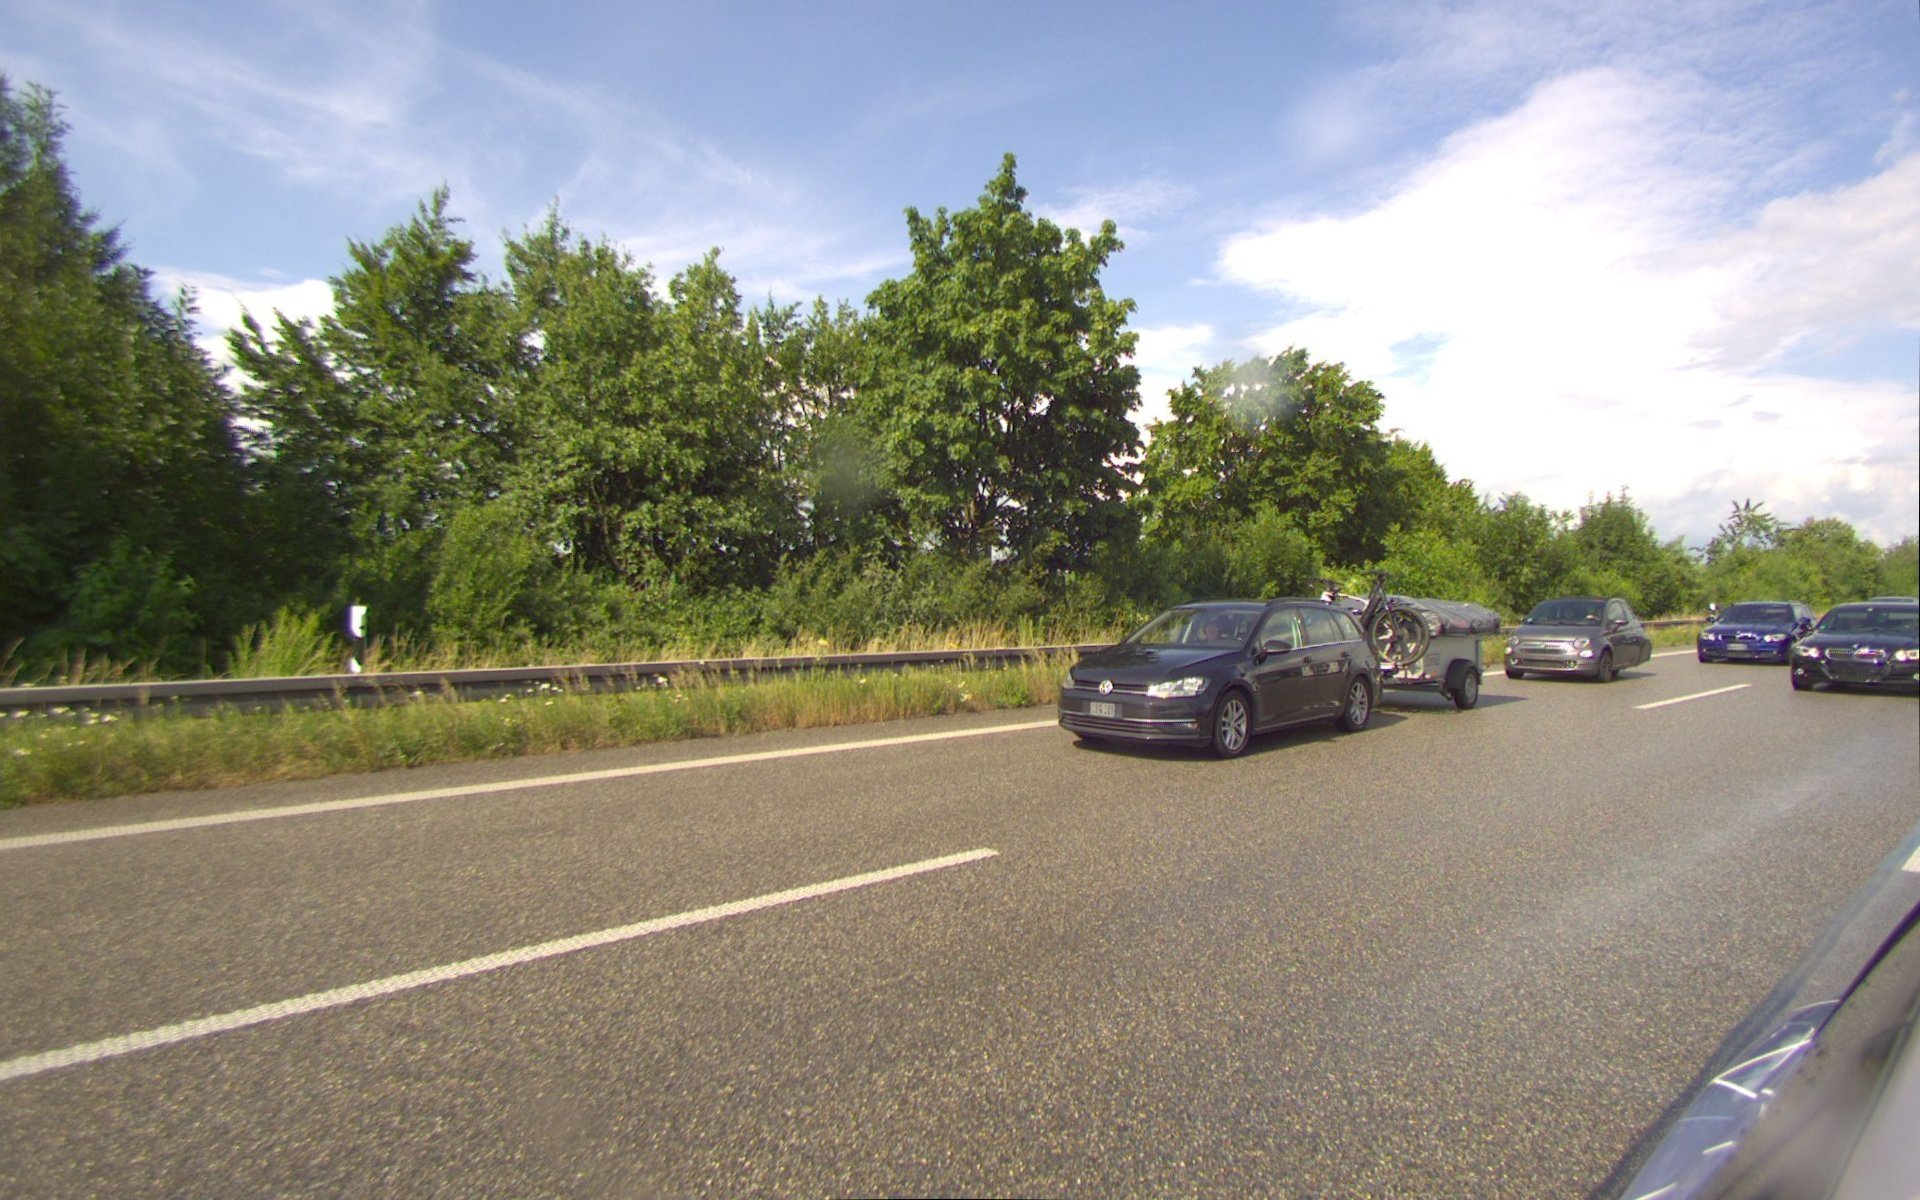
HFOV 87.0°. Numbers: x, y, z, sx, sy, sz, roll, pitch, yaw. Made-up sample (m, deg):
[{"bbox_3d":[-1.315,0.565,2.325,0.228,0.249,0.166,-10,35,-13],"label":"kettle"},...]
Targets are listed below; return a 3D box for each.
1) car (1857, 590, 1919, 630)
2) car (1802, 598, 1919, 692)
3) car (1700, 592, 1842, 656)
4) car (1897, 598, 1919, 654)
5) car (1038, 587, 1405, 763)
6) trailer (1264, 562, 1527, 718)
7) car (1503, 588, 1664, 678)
[{"bbox_3d":[37.666,0.364,40.624,4.176,1.509,1.997,0,1,-41],"label":"car"},{"bbox_3d":[15.186,0.665,16.418,3.815,1.371,1.721,0,0,-40],"label":"car"},{"bbox_3d":[19.180,0.501,23.861,4.499,1.368,1.770,0,1,-40],"label":"car"},{"bbox_3d":[25.535,0.636,25.871,3.927,1.382,1.744,0,0,-39],"label":"car"},{"bbox_3d":[2.887,0.600,10.541,4.333,1.449,1.744,0,1,-45],"label":"car"},{"bbox_3d":[5.865,0.445,13.429,3.901,1.768,1.807,0,0,-43],"label":"trailer"},{"bbox_3d":[11.519,0.535,18.633,3.421,1.507,1.614,0,1,-41],"label":"car"}]
